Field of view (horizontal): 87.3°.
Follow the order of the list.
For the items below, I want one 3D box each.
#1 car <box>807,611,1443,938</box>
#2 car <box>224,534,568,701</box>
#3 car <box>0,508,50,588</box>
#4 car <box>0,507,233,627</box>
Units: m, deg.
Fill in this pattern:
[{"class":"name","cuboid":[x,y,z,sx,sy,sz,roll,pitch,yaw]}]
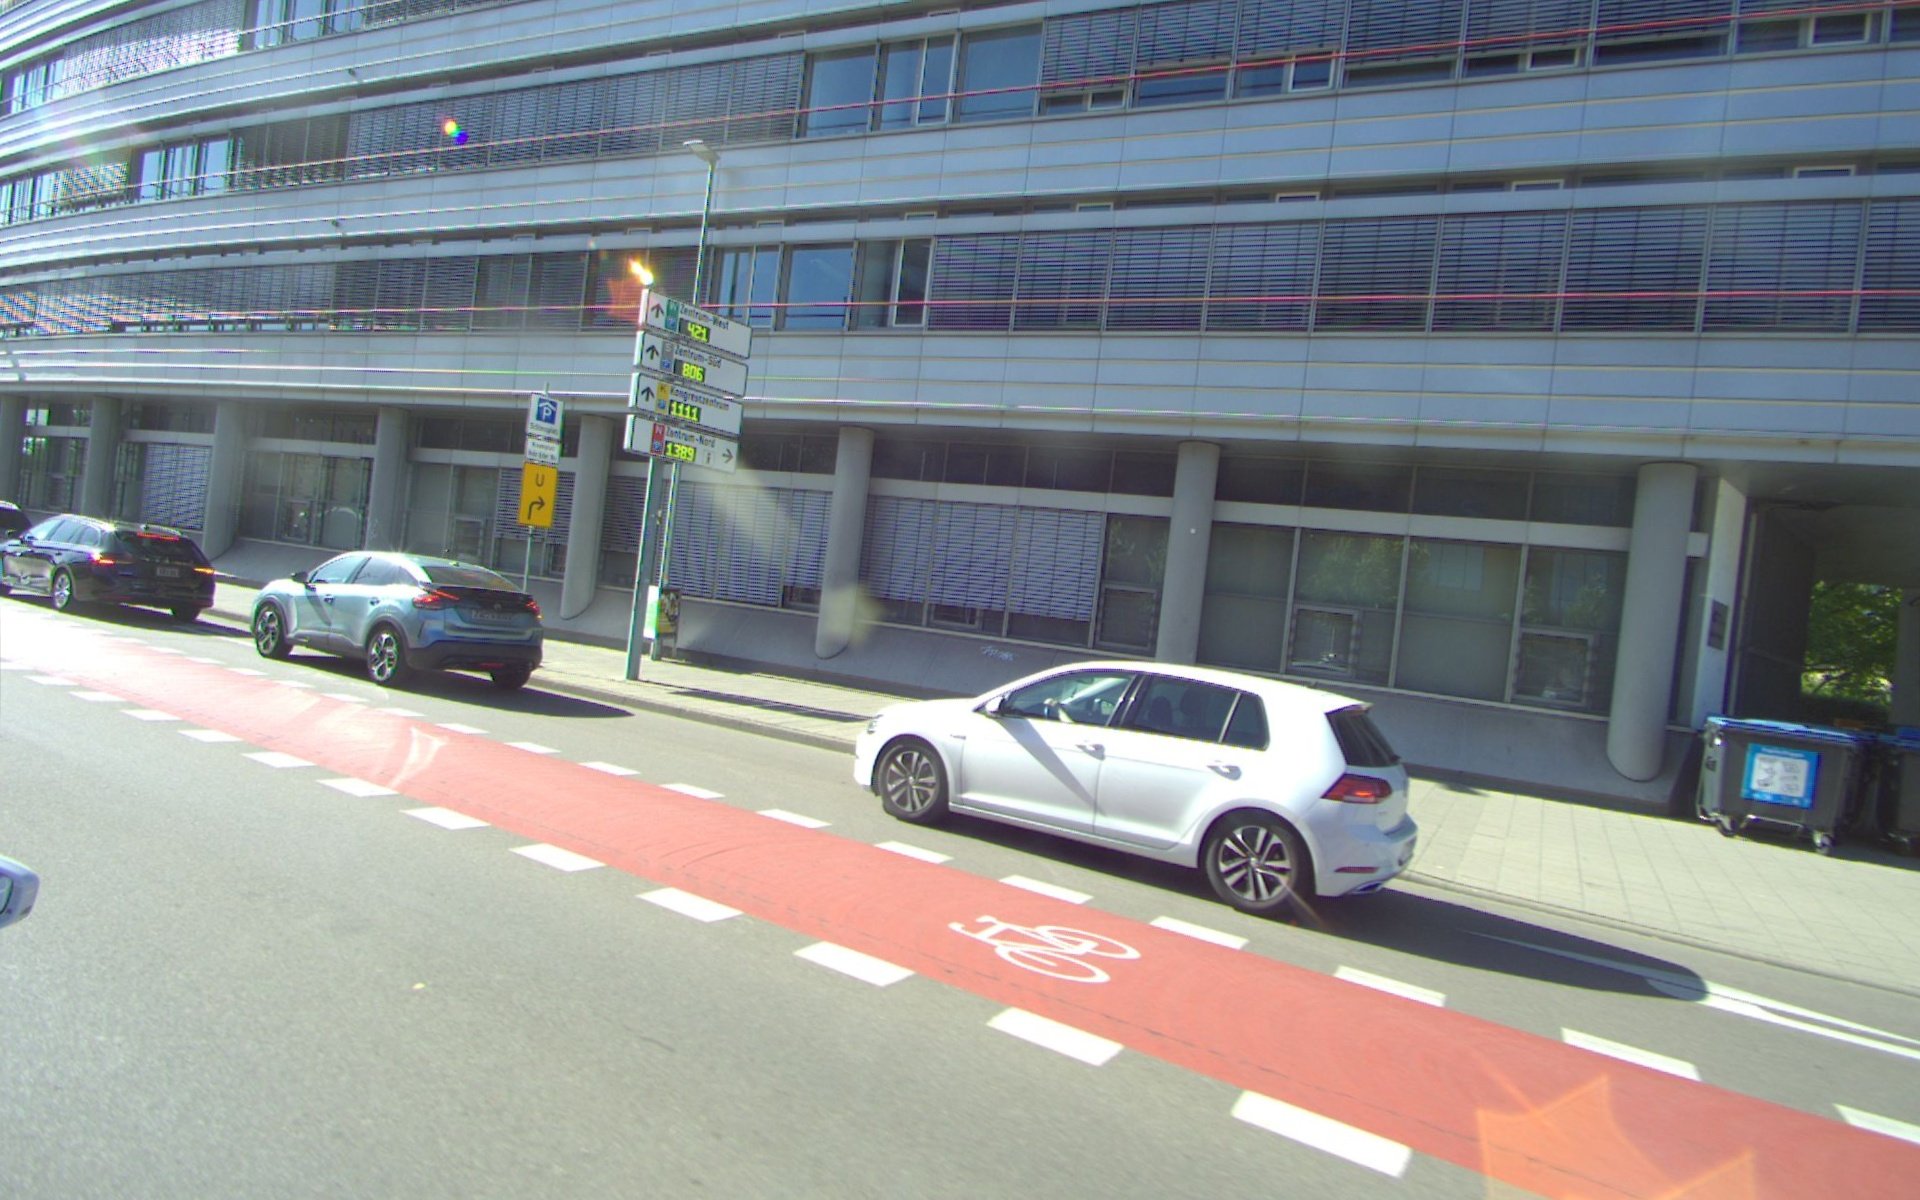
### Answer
[{"class":"car","cuboid":[1.122,1.091,7.532,4.223,1.419,1.776,6,-3,32]},{"class":"car","cuboid":[-7.189,0.183,12.715,4.324,1.543,1.724,7,-1,30]},{"class":"car","cuboid":[-19.902,-1.229,19.654,4.707,1.413,1.724,7,-1,30]},{"class":"car","cuboid":[-13.953,-0.583,16.237,4.557,1.439,1.725,7,-1,29]}]
